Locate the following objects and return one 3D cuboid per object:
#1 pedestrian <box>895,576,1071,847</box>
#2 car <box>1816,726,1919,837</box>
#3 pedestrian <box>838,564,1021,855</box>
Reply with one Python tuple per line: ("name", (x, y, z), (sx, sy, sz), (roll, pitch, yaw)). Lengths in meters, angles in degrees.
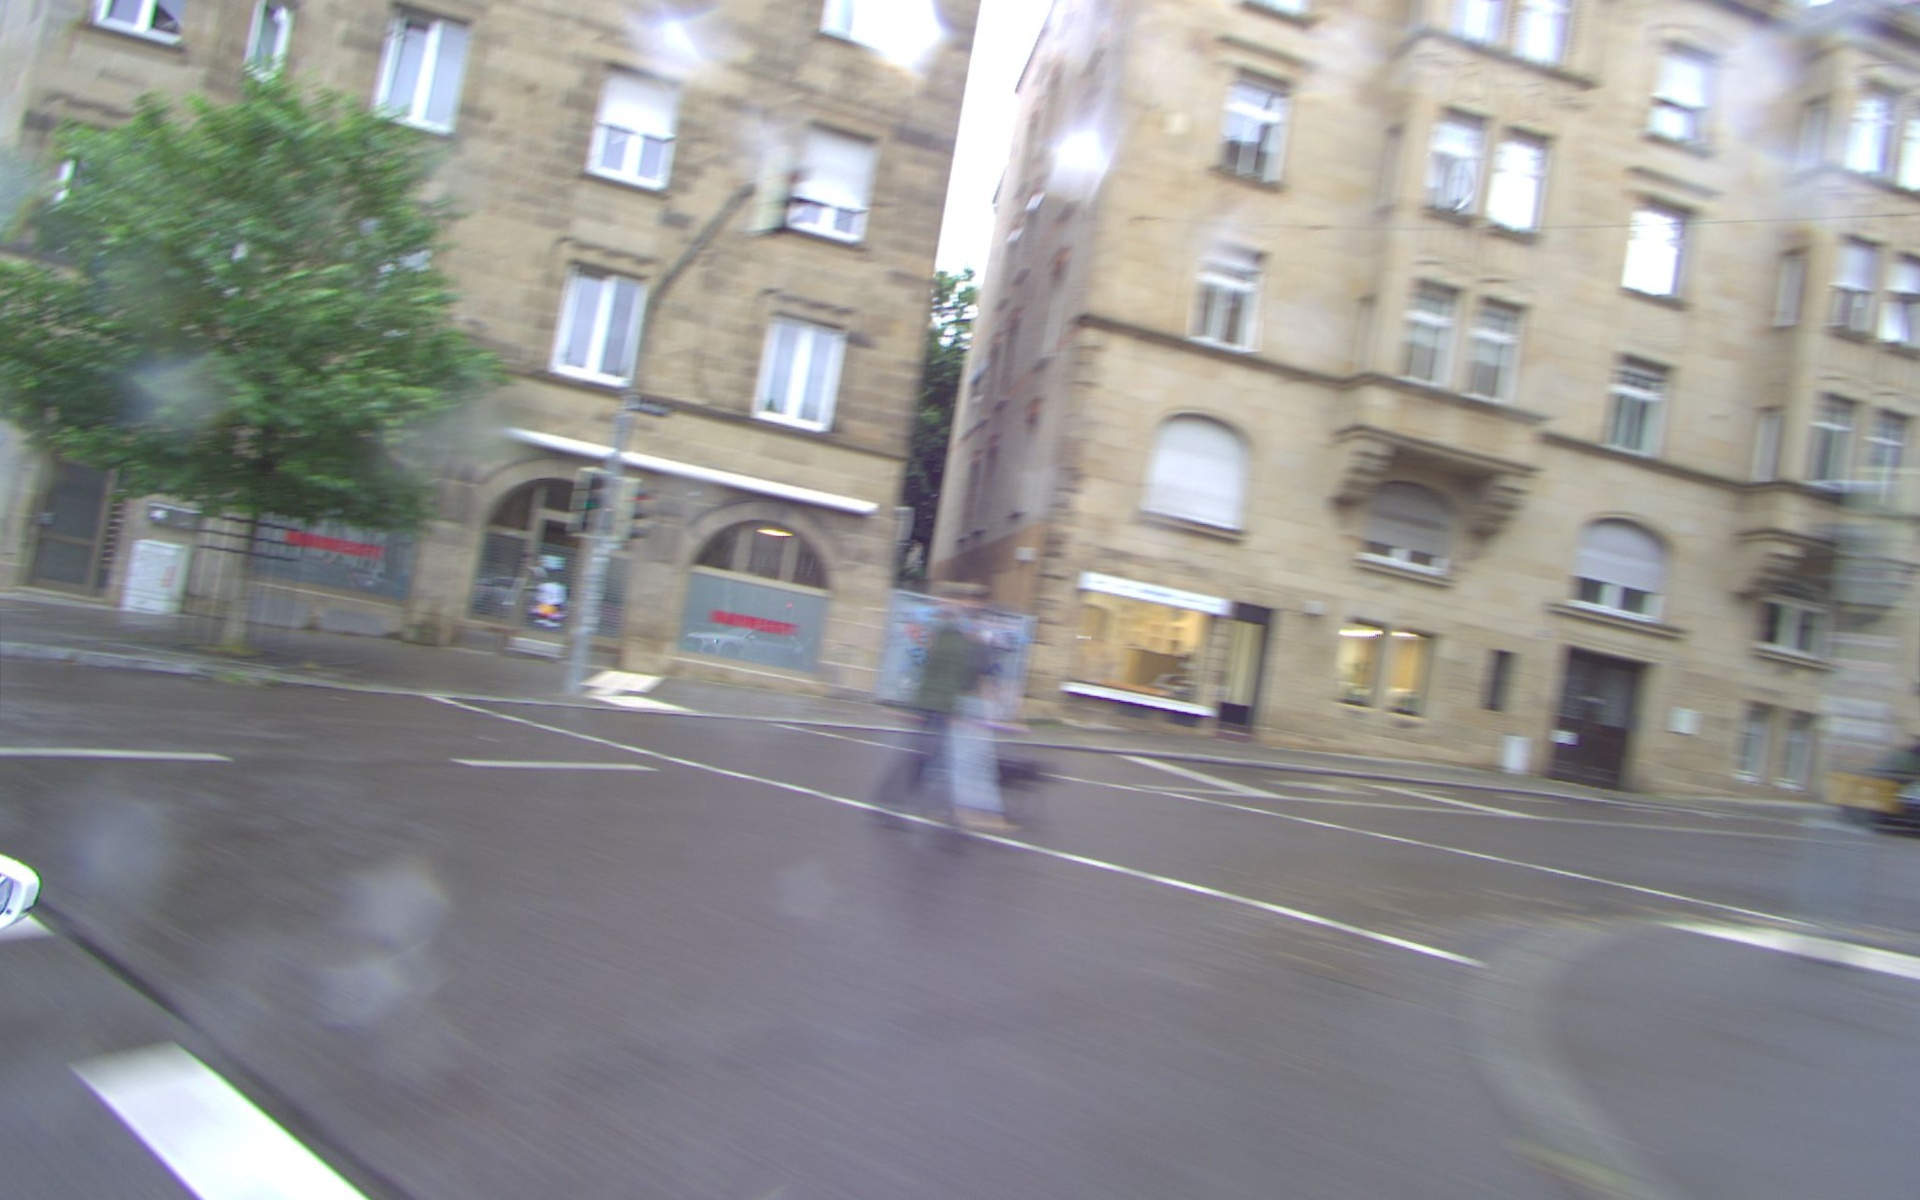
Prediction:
("pedestrian", (0.179, 0.798, 7.476), (0.886, 1.809, 0.683), (7, -1, 30))
("car", (17.792, 3.378, 17.824), (4.287, 1.743, 1.746), (8, -5, -12))
("pedestrian", (-0.206, 0.724, 6.936), (0.876, 1.809, 0.595), (7, -1, 30))
